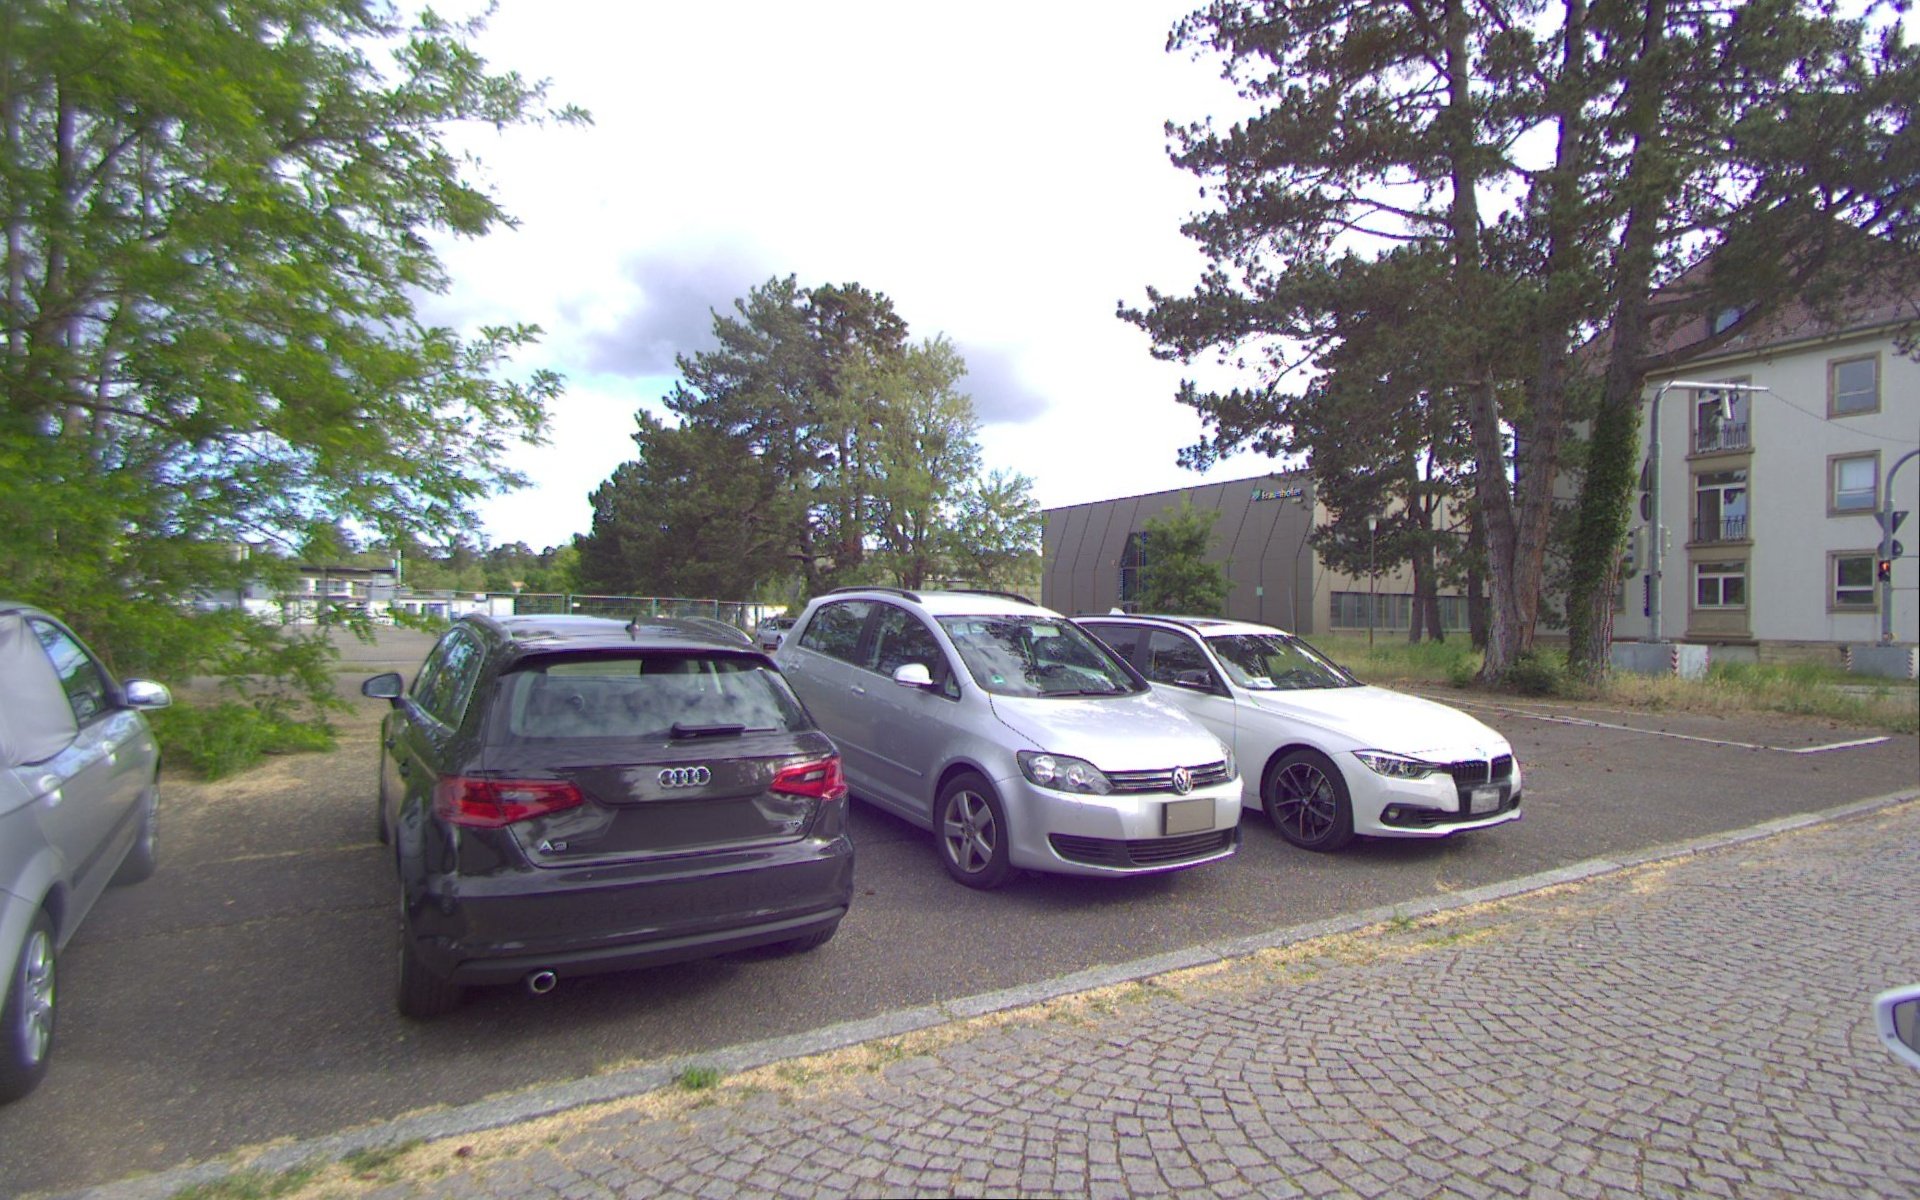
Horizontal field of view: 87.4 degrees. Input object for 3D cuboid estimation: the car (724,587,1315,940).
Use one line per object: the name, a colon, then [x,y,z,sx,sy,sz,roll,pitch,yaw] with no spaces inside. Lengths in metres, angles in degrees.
car: [0.025,0.757,7.053,1.828,1.611,4.445,1,0,-34]

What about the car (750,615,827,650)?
car: [-7.820,1.465,45.606,1.905,1.496,4.330,2,-1,-33]

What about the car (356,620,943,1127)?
car: [-2.070,0.845,5.354,1.864,1.441,4.594,1,-1,-32]

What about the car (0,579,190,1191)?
car: [-4.206,0.706,3.823,1.663,1.475,3.950,1,2,-33]

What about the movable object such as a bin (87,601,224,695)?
movable object such as a bin: [-11.618,0.658,14.620,1.157,1.228,2.519,1,-1,-30]

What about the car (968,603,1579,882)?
car: [2.157,0.856,8.404,1.892,1.459,4.778,1,1,-32]
